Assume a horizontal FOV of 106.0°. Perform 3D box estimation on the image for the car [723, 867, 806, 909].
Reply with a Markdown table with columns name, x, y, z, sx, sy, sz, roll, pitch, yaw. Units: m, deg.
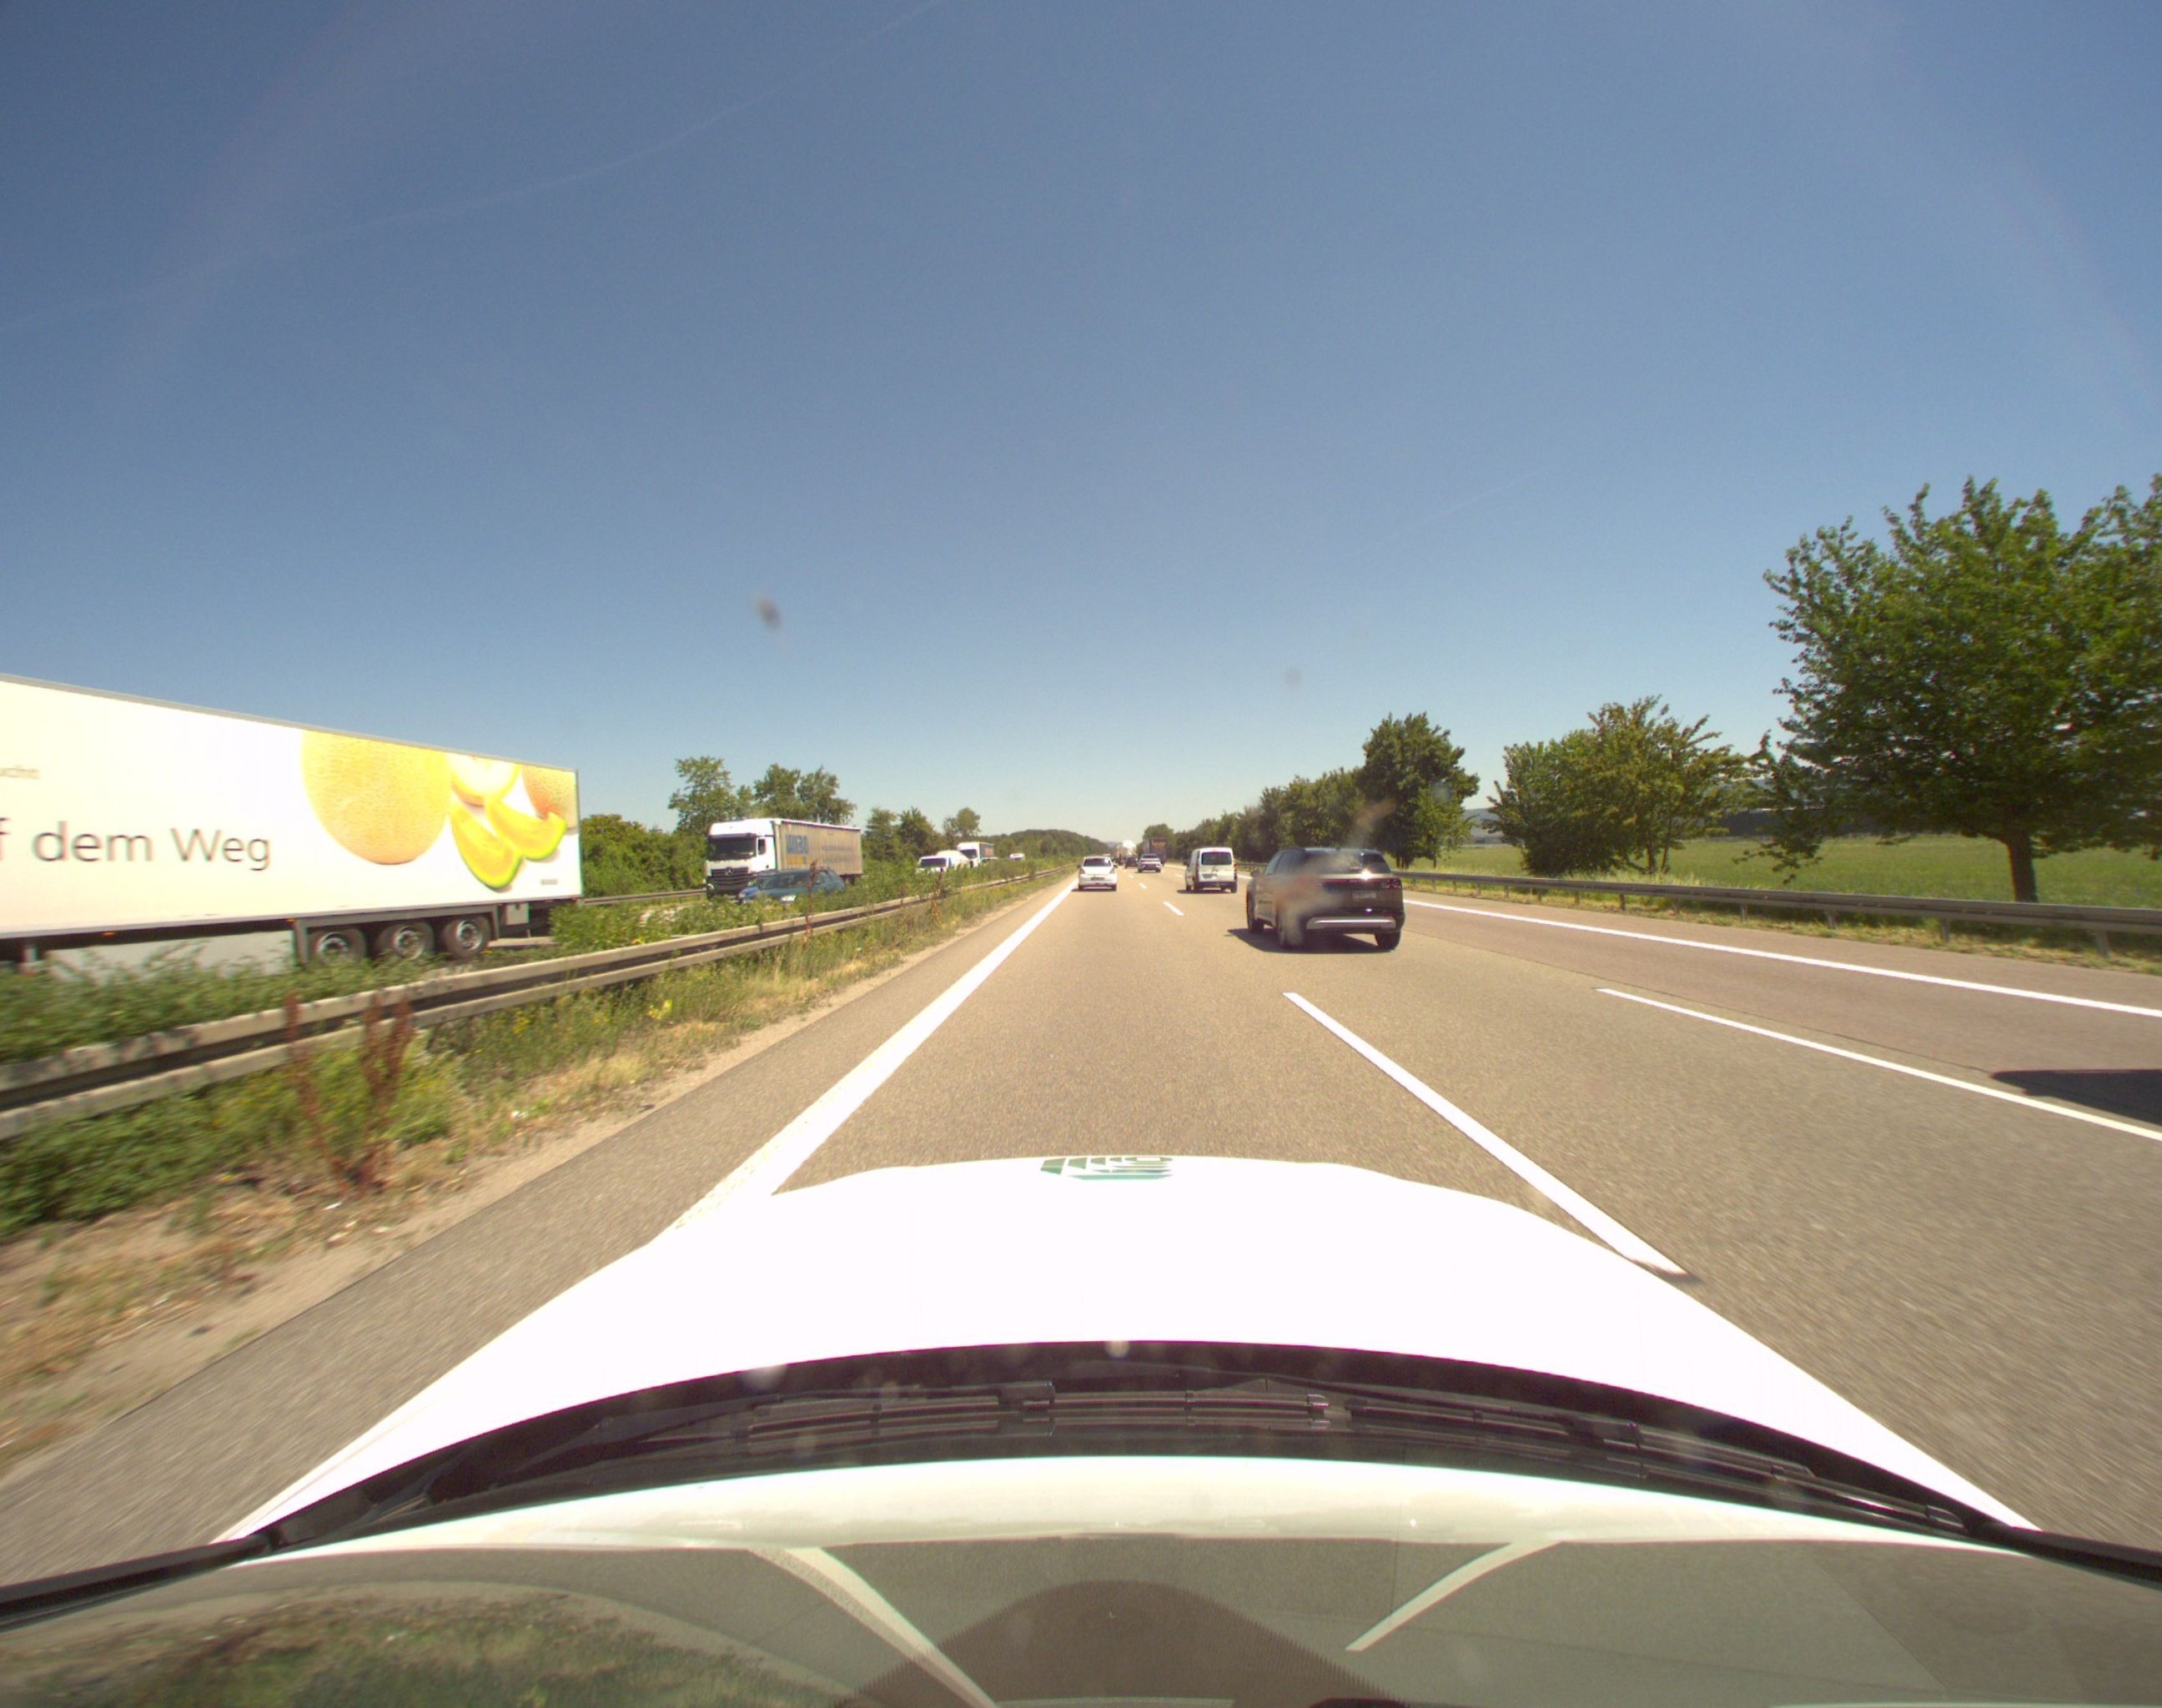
| name | x | y | z | sx | sy | sz | roll | pitch | yaw |
| --- | --- | --- | --- | --- | --- | --- | --- | --- | --- |
| car | -12.322 | 1.286 | 31.969 | 1.566 | 1.386 | 3.968 | -4 | -1 | 1 |

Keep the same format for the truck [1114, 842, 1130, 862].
| name | x | y | z | sx | sy | sz | roll | pitch | yaw |
| --- | --- | --- | --- | --- | --- | --- | --- | --- | --- |
| truck | 8.930 | -0.389 | 177.781 | 3.381 | 4.214 | 12.090 | 0 | 0 | 3 |

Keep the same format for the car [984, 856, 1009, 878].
| name | x | y | z | sx | sy | sz | roll | pitch | yaw |
| --- | --- | --- | --- | --- | --- | --- | --- | --- | --- |
| car | -8.233 | 1.260 | 80.013 | 1.987 | 2.073 | 4.712 | 0 | 0 | 0 |

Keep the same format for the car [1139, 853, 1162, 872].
| name | x | y | z | sx | sy | sz | roll | pitch | yaw |
| --- | --- | --- | --- | --- | --- | --- | --- | --- | --- |
| car | 6.032 | 0.709 | 71.341 | 1.795 | 1.603 | 4.382 | 0 | 0 | 2 |

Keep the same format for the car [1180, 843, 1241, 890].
| name | x | y | z | sx | sy | sz | roll | pitch | yaw |
| --- | --- | --- | --- | --- | --- | --- | --- | --- | --- |
| car | 5.368 | 0.501 | 34.239 | 1.847 | 1.863 | 4.702 | 0 | 0 | 0 |

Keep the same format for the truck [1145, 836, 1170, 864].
| name | x | y | z | sx | sy | sz | roll | pitch | yaw |
| --- | --- | --- | --- | --- | --- | --- | --- | --- | --- |
| truck | 11.560 | -0.527 | 124.923 | 3.096 | 4.139 | 15.521 | 0 | 0 | 3 |

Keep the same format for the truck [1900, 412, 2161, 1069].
| name | x | y | z | sx | sy | sz | roll | pitch | yaw |
| --- | --- | --- | --- | --- | --- | --- | --- | --- | --- |
| truck | 8.407 | -0.754 | 3.466 | 2.799 | 4.304 | 7.197 | 0 | 0 | 2 |

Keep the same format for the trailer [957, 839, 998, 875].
| name | x | y | z | sx | sy | sz | roll | pitch | yaw |
| --- | --- | --- | --- | --- | --- | --- | --- | --- | --- |
| trailer | -13.459 | 0.553 | 106.986 | 2.966 | 4.212 | 13.739 | -3 | -2 | 2 |

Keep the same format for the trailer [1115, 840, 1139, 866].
| name | x | y | z | sx | sy | sz | roll | pitch | yaw |
| --- | --- | --- | --- | --- | --- | --- | --- | --- | --- |
| trailer | 7.245 | -0.124 | 130.318 | 2.903 | 4.069 | 12.409 | 0 | 0 | -2 |

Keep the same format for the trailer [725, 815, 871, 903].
| name | x | y | z | sx | sy | sz | roll | pitch | yaw |
| --- | --- | --- | --- | --- | --- | --- | --- | --- | --- |
| trailer | -15.617 | 0.279 | 46.710 | 2.747 | 4.103 | 14.059 | -4 | 0 | 2 |

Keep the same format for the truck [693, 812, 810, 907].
| name | x | y | z | sx | sy | sz | roll | pitch | yaw |
| --- | --- | --- | --- | --- | --- | --- | --- | --- | --- |
| truck | -15.862 | 0.251 | 39.710 | 2.747 | 4.103 | 6.155 | -4 | 0 | 2 |

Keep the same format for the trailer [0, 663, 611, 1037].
| name | x | y | z | sx | sy | sz | roll | pitch | yaw |
| --- | --- | --- | --- | --- | --- | --- | --- | --- | --- |
| trailer | -12.977 | 0.023 | 12.211 | 2.729 | 4.085 | 14.357 | -3 | 0 | 3 |

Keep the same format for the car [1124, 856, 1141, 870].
| name | x | y | z | sx | sy | sz | roll | pitch | yaw |
| --- | --- | --- | --- | --- | --- | --- | --- | --- | --- |
| car | 6.065 | 1.040 | 95.608 | 1.843 | 1.523 | 3.958 | 0 | 0 | 2 |

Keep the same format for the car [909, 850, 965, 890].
| name | x | y | z | sx | sy | sz | roll | pitch | yaw |
| --- | --- | --- | --- | --- | --- | --- | --- | --- | --- |
| car | -7.724 | 0.822 | 44.270 | 1.986 | 2.031 | 5.492 | 0 | 0 | 1 |

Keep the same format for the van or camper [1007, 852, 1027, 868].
| name | x | y | z | sx | sy | sz | roll | pitch | yaw |
| --- | --- | --- | --- | --- | --- | --- | --- | --- | --- |
| van or camper | -12.441 | 1.161 | 158.307 | 2.839 | 2.969 | 7.449 | -3 | 0 | 1 |

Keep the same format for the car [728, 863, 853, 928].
| name | x | y | z | sx | sy | sz | roll | pitch | yaw |
| --- | --- | --- | --- | --- | --- | --- | --- | --- | --- |
| car | -8.382 | 1.140 | 24.057 | 1.953 | 1.693 | 4.802 | 0 | 0 | 0 |

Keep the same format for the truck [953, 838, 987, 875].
| name | x | y | z | sx | sy | sz | roll | pitch | yaw |
| --- | --- | --- | --- | --- | --- | --- | --- | --- | --- |
| truck | -13.665 | 0.369 | 101.161 | 2.995 | 4.212 | 6.312 | -3 | -2 | 2 |

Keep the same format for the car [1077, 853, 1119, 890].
| name | x | y | z | sx | sy | sz | roll | pitch | yaw |
| --- | --- | --- | --- | --- | --- | --- | --- | --- | --- |
| car | 0.755 | 0.762 | 36.674 | 1.793 | 1.552 | 3.610 | 0 | 0 | 1 |

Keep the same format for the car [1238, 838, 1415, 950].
| name | x | y | z | sx | sy | sz | roll | pitch | yaw |
| --- | --- | --- | --- | --- | --- | --- | --- | --- | --- |
| car | 4.151 | 0.617 | 14.618 | 1.860 | 1.675 | 4.747 | 0 | 0 | 1 |
